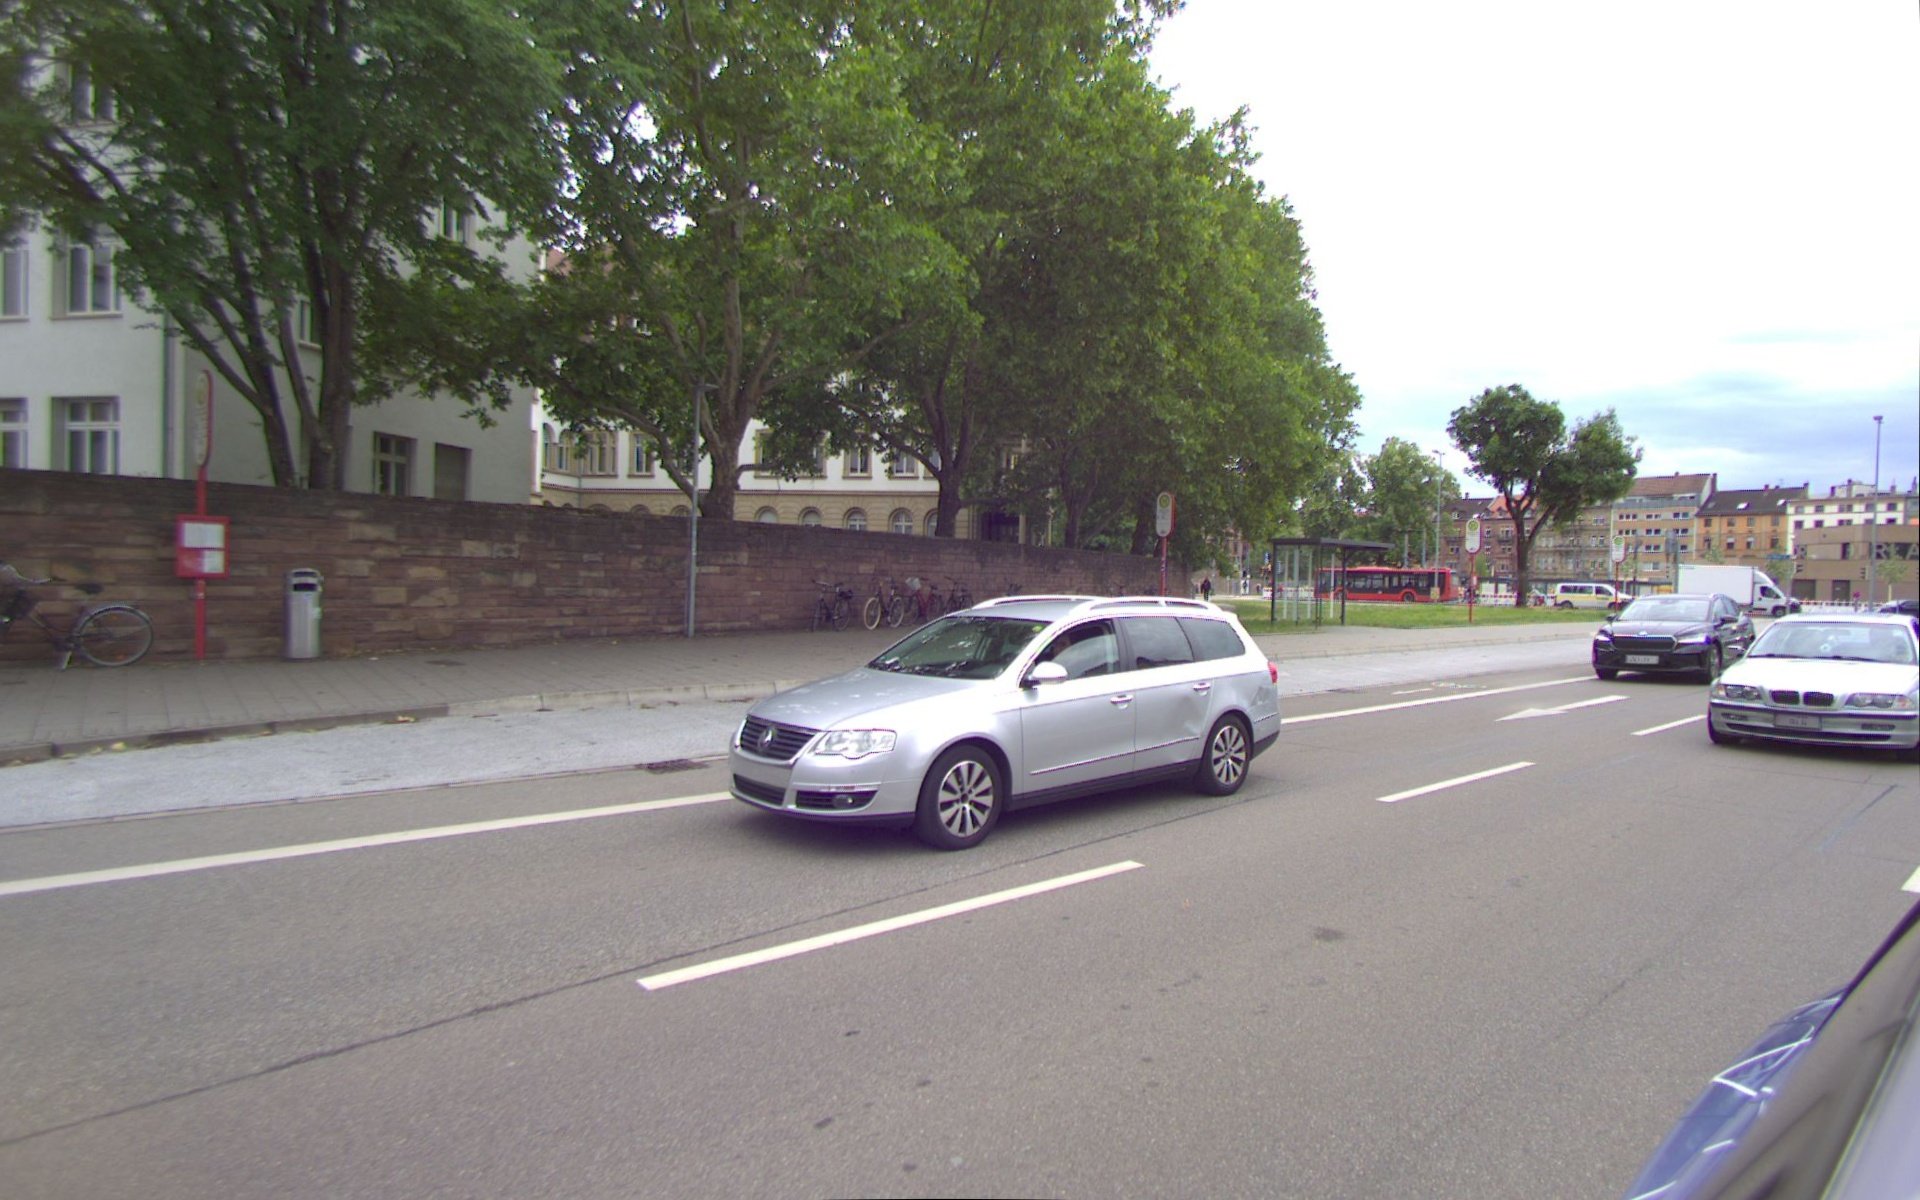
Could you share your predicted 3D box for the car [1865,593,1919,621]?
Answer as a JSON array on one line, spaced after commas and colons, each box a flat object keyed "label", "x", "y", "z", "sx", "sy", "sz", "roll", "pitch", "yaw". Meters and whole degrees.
[{"label": "car", "x": 62.462, "y": 0.491, "z": 66.442, "sx": 4.213, "sy": 1.657, "sz": 1.687, "roll": 3, "pitch": 2, "yaw": 7}]

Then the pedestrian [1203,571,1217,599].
[{"label": "pedestrian", "x": 16.170, "y": -0.951, "z": 65.566, "sx": 0.745, "sy": 1.756, "sz": 0.821, "roll": 3, "pitch": 2, "yaw": 10}]

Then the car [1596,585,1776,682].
[{"label": "car", "x": 13.985, "y": 0.559, "z": 19.399, "sx": 4.413, "sy": 1.645, "sz": 1.910, "roll": 0, "pitch": 0, "yaw": -42}]

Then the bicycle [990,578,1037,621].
[{"label": "bicycle", "x": 1.502, "y": -0.031, "z": 28.096, "sx": 0.593, "sy": 1.118, "sz": 1.638, "roll": 3, "pitch": 2, "yaw": 29}]

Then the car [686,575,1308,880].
[{"label": "car", "x": 0.477, "y": 0.632, "z": 7.434, "sx": 4.446, "sy": 1.570, "sz": 1.829, "roll": -2, "pitch": 1, "yaw": -38}]

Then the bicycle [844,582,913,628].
[{"label": "bicycle", "x": -1.837, "y": 0.095, "z": 23.076, "sx": 0.650, "sy": 0.963, "sz": 1.750, "roll": 4, "pitch": 2, "yaw": 31}]

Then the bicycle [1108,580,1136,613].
[{"label": "bicycle", "x": 5.934, "y": -0.136, "z": 36.979, "sx": 0.589, "sy": 1.143, "sz": 1.700, "roll": 3, "pitch": 2, "yaw": 23}]

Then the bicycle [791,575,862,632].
[{"label": "bicycle", "x": -2.799, "y": 0.043, "z": 21.441, "sx": 0.712, "sy": 1.113, "sz": 1.780, "roll": 3, "pitch": 2, "yaw": 20}]

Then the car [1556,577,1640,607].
[{"label": "car", "x": 45.338, "y": -0.589, "z": 71.985, "sx": 1.889, "sy": 1.942, "sz": 4.704, "roll": -3, "pitch": 4, "yaw": -43}]

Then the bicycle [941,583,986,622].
[{"label": "bicycle", "x": 0.091, "y": 0.052, "z": 26.285, "sx": 0.414, "sy": 0.954, "sz": 1.508, "roll": 3, "pitch": 2, "yaw": 31}]

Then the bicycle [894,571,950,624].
[{"label": "bicycle", "x": -0.911, "y": -0.069, "z": 24.627, "sx": 0.497, "sy": 1.236, "sz": 1.609, "roll": 3, "pitch": 2, "yaw": 31}]

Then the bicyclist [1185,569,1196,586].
[{"label": "bicyclist", "x": 21.245, "y": -2.052, "z": 93.294, "sx": 0.737, "sy": 1.526, "sz": 0.757, "roll": 4, "pitch": 2, "yaw": 39}]

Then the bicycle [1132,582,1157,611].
[{"label": "bicycle", "x": 7.322, "y": -0.145, "z": 40.082, "sx": 0.589, "sy": 1.072, "sz": 1.700, "roll": 3, "pitch": 2, "yaw": 23}]

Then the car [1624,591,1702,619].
[{"label": "car", "x": 50.746, "y": 0.331, "z": 73.110, "sx": 4.412, "sy": 1.767, "sz": 1.739, "roll": 4, "pitch": 3, "yaw": 40}]

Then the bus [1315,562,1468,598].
[{"label": "bus", "x": 37.270, "y": -1.779, "z": 87.984, "sx": 2.889, "sy": 2.944, "sz": 12.068, "roll": 0, "pitch": 1, "yaw": -44}]

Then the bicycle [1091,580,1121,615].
[{"label": "bicycle", "x": 5.116, "y": -0.106, "z": 35.461, "sx": 0.589, "sy": 1.150, "sz": 1.700, "roll": 3, "pitch": 2, "yaw": 23}]

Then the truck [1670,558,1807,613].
[{"label": "truck", "x": 50.845, "y": -0.997, "z": 66.214, "sx": 6.835, "sy": 3.453, "sz": 2.520, "roll": 1, "pitch": 3, "yaw": 45}]

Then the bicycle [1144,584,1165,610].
[{"label": "bicycle", "x": 8.012, "y": -0.118, "z": 41.650, "sx": 0.544, "sy": 1.004, "sz": 1.626, "roll": 3, "pitch": 2, "yaw": 20}]

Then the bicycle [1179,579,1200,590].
[{"label": "bicycle", "x": 21.178, "y": -1.471, "z": 93.347, "sx": 1.687, "sy": 0.926, "sz": 0.757, "roll": 4, "pitch": 3, "yaw": 39}]

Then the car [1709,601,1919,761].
[{"label": "car", "x": 9.866, "y": 0.752, "z": 11.141, "sx": 4.170, "sy": 1.432, "sz": 1.725, "roll": 1, "pitch": 0, "yaw": -41}]

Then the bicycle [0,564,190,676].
[{"label": "bicycle", "x": -10.023, "y": 0.191, "z": 11.473, "sx": 0.846, "sy": 1.141, "sz": 1.900, "roll": 4, "pitch": 3, "yaw": 34}]
